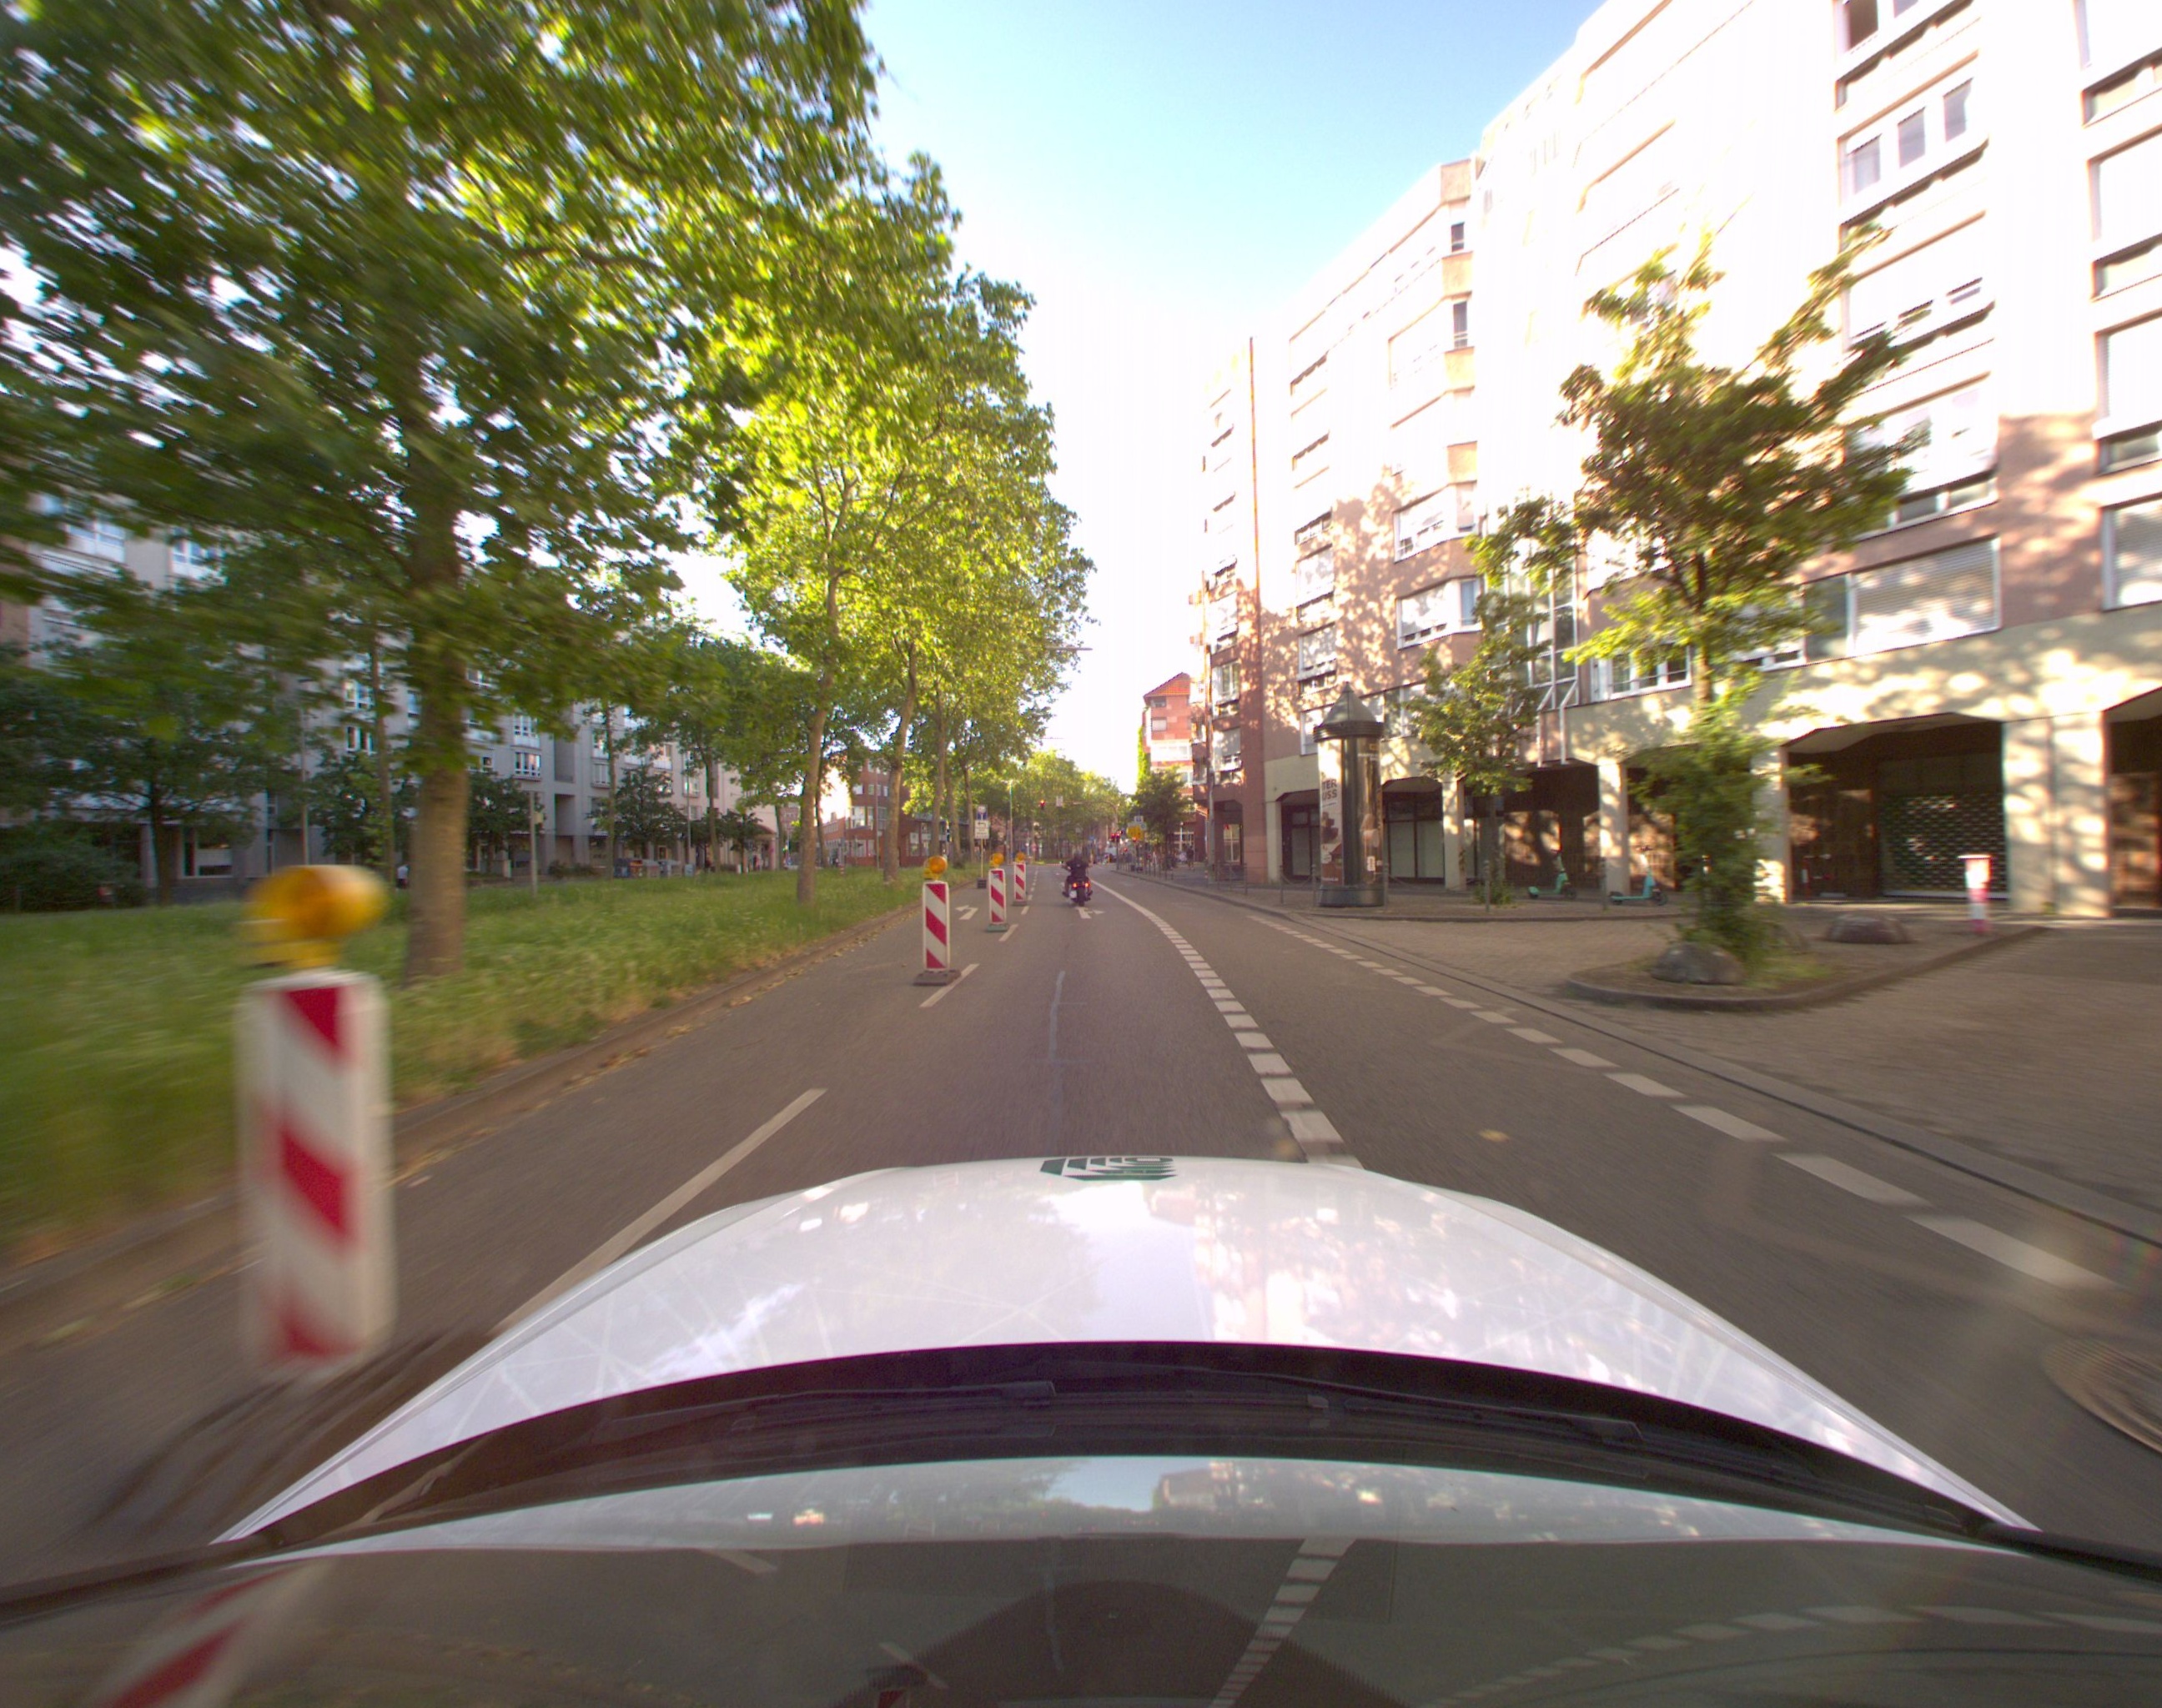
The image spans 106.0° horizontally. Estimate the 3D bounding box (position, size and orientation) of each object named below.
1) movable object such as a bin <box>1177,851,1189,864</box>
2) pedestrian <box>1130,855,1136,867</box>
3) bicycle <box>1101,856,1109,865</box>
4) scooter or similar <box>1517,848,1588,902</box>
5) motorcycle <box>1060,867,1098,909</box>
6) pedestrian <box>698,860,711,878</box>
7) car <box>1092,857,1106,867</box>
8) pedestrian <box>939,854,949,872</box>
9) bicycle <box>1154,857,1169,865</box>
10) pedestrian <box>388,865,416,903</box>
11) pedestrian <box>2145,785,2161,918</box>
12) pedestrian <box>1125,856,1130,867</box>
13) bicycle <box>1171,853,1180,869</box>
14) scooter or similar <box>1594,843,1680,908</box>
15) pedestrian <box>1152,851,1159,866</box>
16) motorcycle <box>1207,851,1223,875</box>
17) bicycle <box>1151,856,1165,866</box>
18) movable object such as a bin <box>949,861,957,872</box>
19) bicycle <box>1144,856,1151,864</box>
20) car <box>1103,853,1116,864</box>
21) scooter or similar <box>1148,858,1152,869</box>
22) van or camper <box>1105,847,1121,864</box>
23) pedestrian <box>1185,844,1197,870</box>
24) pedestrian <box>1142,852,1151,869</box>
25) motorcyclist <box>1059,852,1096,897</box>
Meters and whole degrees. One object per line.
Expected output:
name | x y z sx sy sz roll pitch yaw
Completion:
movable object such as a bin | 11.866 0.418 94.797 1.401 1.482 0.874 -1 0 9
pedestrian | 7.337 1.019 114.535 0.698 1.733 0.768 -1 0 1
bicycle | 3.128 0.838 106.199 0.737 1.053 1.745 -1 0 -11
scooter or similar | 11.027 0.484 19.097 0.486 1.216 1.440 -1 0 -22
motorcycle | -0.079 0.949 23.196 1.015 1.097 2.007 -1 0 -1
pedestrian | -33.356 1.321 72.218 0.703 1.639 0.790 -1 0 9
car | 2.520 1.084 113.231 1.612 1.302 4.319 -1 0 6
pedestrian | -11.720 0.788 69.794 0.613 1.503 0.537 -1 0 21
bicycle | 9.924 0.873 100.566 1.730 1.053 0.744 -1 0 25
pedestrian | -31.876 1.394 38.219 0.726 1.740 0.648 -1 0 1
pedestrian | 16.459 -0.045 11.851 0.813 1.981 0.848 -1 0 -2
pedestrian | 6.553 1.082 114.587 0.642 1.578 0.748 -1 0 1
bicycle | 7.685 0.557 66.180 0.618 1.225 1.932 -1 0 10
scooter or similar | 11.527 0.427 16.931 0.486 1.274 1.440 -1 0 -22
pedestrian | 8.116 0.472 88.692 0.459 1.672 0.677 -1 0 -11
motorcycle | 7.785 0.508 47.354 0.487 1.372 2.089 -1 0 -2
bicycle | 9.202 0.817 97.470 1.560 1.227 0.578 -1 0 3
movable object such as a bin | -11.036 1.081 70.052 0.507 0.953 0.541 -1 0 11
bicycle | 8.656 0.769 105.778 0.734 0.939 1.753 -1 0 2
car | 4.315 0.693 123.165 1.611 1.619 4.494 -1 0 7
scooter or similar | 7.511 1.006 88.848 0.393 1.158 1.251 -1 0 4
van or camper | 5.133 0.207 129.931 2.037 2.540 5.785 -1 0 8
pedestrian | 7.607 0.221 56.248 0.777 1.738 0.838 -1 0 6
pedestrian | 7.126 0.720 88.932 0.787 1.763 0.606 -1 0 -15
motorcyclist | -0.092 0.570 23.289 1.008 1.263 0.774 1 0 -1
